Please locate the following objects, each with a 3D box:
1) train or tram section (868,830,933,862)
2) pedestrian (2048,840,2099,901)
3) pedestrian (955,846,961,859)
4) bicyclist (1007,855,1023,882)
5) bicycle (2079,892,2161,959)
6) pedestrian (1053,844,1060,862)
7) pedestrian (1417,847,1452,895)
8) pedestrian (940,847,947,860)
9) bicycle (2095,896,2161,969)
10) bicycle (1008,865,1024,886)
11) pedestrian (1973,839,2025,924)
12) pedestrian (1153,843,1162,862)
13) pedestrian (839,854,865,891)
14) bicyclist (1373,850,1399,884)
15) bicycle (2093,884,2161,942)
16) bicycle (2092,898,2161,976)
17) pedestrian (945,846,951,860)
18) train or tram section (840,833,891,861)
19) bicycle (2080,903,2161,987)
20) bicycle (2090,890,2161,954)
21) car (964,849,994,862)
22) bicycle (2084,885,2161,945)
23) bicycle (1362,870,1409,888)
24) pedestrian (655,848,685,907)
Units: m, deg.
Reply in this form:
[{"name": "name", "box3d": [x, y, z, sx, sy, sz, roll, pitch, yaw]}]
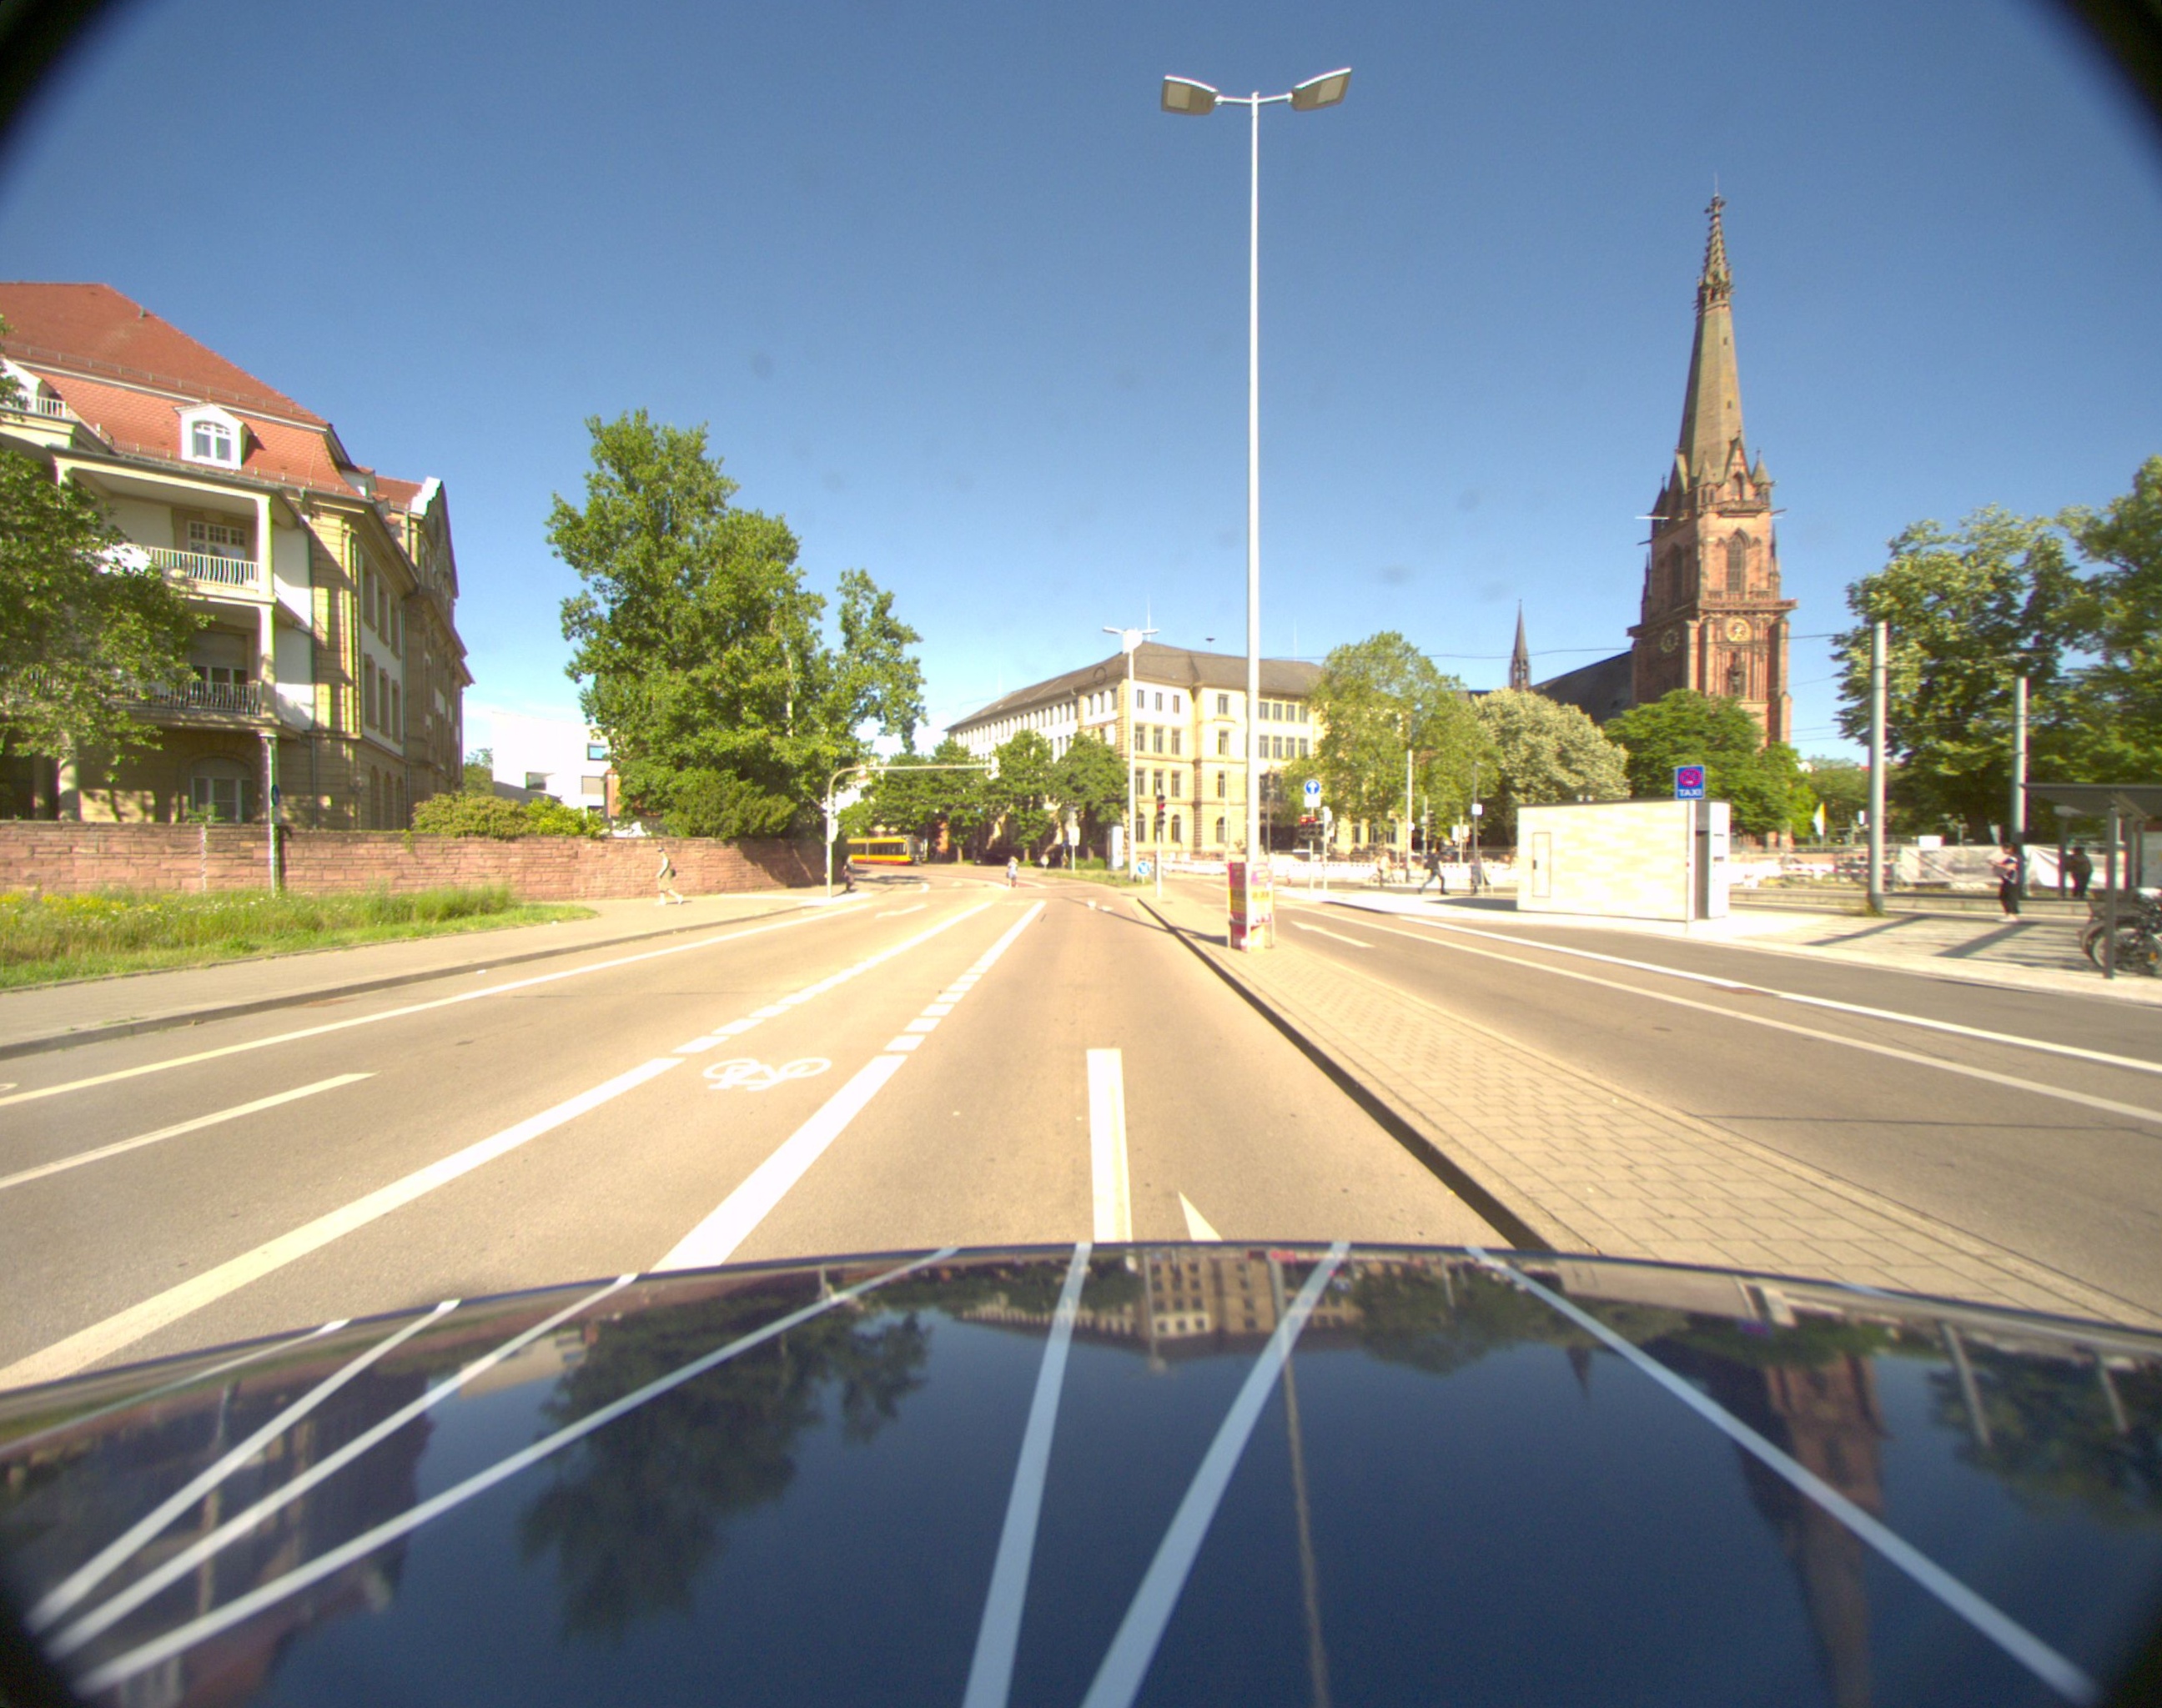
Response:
[{"name": "train or tram section", "box3d": [-21.915, -0.962, 91.400, 2.946, 3.500, 13.803, -1, 1, -34]}, {"name": "pedestrian", "box3d": [30.742, 0.498, 23.544, 0.619, 1.849, 0.703, 0, 1, 11]}, {"name": "pedestrian", "box3d": [-17.456, -0.192, 107.744, 0.578, 1.893, 0.849, -1, 1, -36]}, {"name": "bicyclist", "box3d": [-3.434, 0.747, 39.650, 0.741, 1.363, 0.626, -2, 1, -6]}, {"name": "bicycle", "box3d": [17.189, 1.142, 12.015, 0.407, 0.993, 1.679, -3, 2, -33]}, {"name": "pedestrian", "box3d": [-2.733, -0.142, 84.820, 0.557, 2.002, 0.645, -1, 1, -37]}, {"name": "pedestrian", "box3d": [13.016, 0.622, 27.999, 1.001, 1.733, 0.631, 0, 1, 8]}, {"name": "pedestrian", "box3d": [-19.646, -0.115, 108.485, 0.578, 1.893, 0.781, -1, 1, -36]}, {"name": "bicycle", "box3d": [16.133, 1.183, 11.002, 0.407, 0.993, 1.678, -3, 3, -33]}, {"name": "bicycle", "box3d": [-3.416, 1.121, 39.670, 0.741, 0.989, 2.305, -2, 1, -6]}, {"name": "pedestrian", "box3d": [20.455, 0.584, 16.938, 0.622, 1.849, 0.700, -2, 2, -41]}, {"name": "pedestrian", "box3d": [6.921, -0.109, 68.504, 0.540, 1.710, 0.545, -1, 1, -37]}, {"name": "pedestrian", "box3d": [-10.371, 0.841, 34.394, 0.931, 1.657, 0.631, 0, 1, 6]}, {"name": "bicyclist", "box3d": [14.559, 0.608, 36.327, 0.886, 1.562, 0.740, 0, 1, -15]}, {"name": "bicycle", "box3d": [19.518, 1.065, 13.582, 0.407, 0.993, 1.679, -3, 2, -33]}, {"name": "bicycle", "box3d": [15.034, 1.166, 10.211, 0.407, 0.993, 1.678, -3, 3, -33]}, {"name": "pedestrian", "box3d": [-19.082, -0.143, 108.915, 0.578, 1.893, 0.849, -1, 1, -36]}, {"name": "train or tram section", "box3d": [-29.024, -0.963, 101.964, 2.947, 3.500, 11.646, -1, 1, -34]}, {"name": "bicycle", "box3d": [13.989, 1.189, 9.553, 0.407, 0.993, 1.678, -3, 3, -33]}, {"name": "bicycle", "box3d": [17.969, 1.138, 12.462, 0.407, 0.993, 1.679, -3, 2, -33]}, {"name": "car", "box3d": [-12.146, 0.142, 90.444, 1.839, 1.587, 3.989, -1, 1, -37]}, {"name": "bicycle", "box3d": [19.032, 1.084, 13.340, 0.407, 0.993, 1.679, -3, 2, -33]}, {"name": "bicycle", "box3d": [14.570, 1.191, 36.345, 2.054, 0.777, 0.740, 0, 1, -15]}, {"name": "pedestrian", "box3d": [-13.153, 0.724, 24.319, 0.788, 1.847, 0.629, -1, 1, -30]}]
